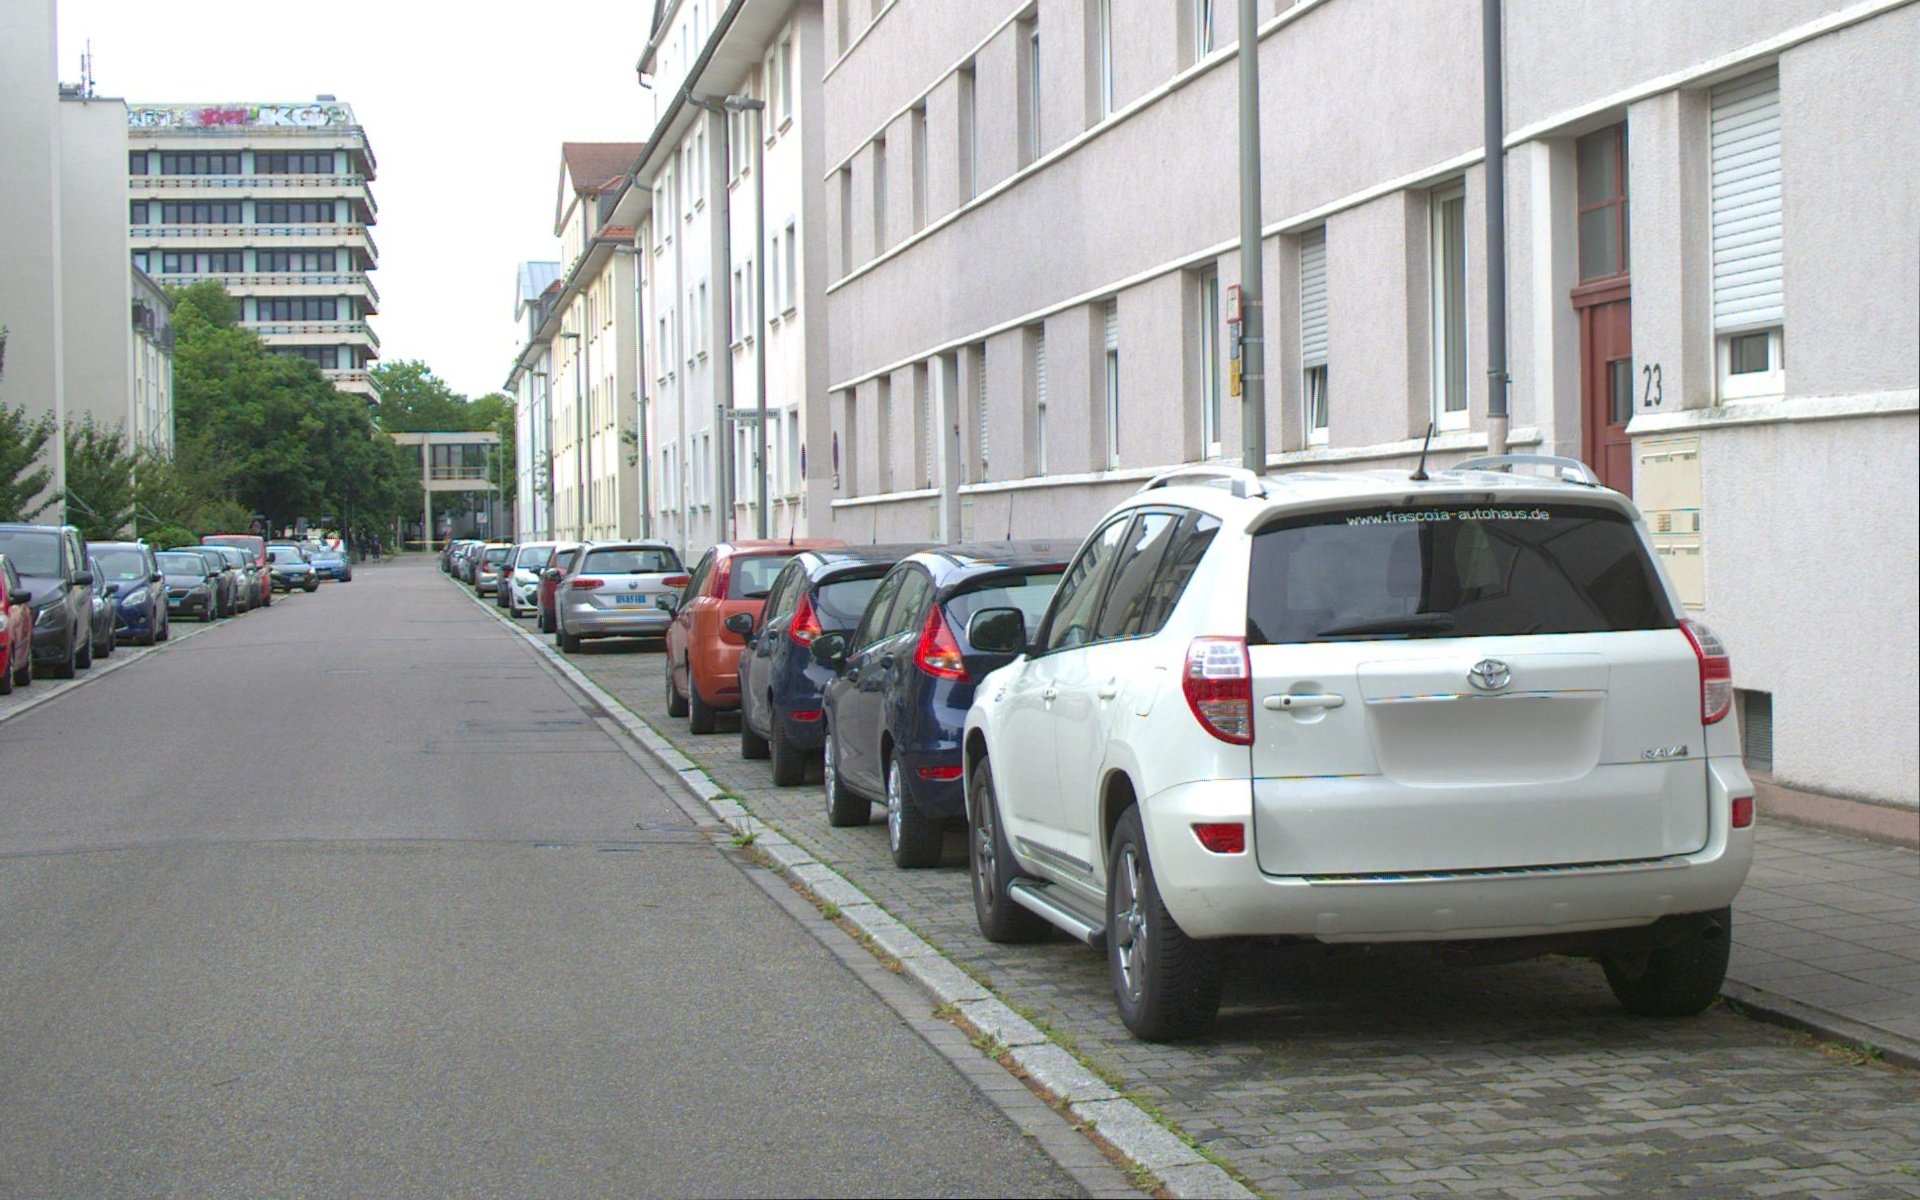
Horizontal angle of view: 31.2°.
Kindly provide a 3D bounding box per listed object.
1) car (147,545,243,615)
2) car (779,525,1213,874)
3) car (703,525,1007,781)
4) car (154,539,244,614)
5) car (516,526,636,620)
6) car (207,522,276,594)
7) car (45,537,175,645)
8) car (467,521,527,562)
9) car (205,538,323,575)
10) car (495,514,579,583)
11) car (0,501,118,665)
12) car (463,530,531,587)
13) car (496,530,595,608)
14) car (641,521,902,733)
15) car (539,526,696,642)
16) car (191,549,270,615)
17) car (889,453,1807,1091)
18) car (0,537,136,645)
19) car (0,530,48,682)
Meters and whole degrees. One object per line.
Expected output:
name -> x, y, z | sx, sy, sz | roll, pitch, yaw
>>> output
car -> -15.559, -0.427, 70.068 | 1.671, 1.347, 3.817 | 0, 1, -9
car -> 0.063, 0.388, 16.938 | 1.567, 1.473, 3.872 | -1, 2, -8
car -> -0.755, 0.273, 22.335 | 1.567, 1.468, 3.697 | -2, 2, -8
car -> -16.486, -0.531, 74.613 | 1.671, 1.558, 3.665 | 0, 1, -9
car -> -6.369, -0.480, 56.720 | 1.669, 1.415, 4.001 | -3, 2, -10
car -> -19.736, -1.173, 94.536 | 1.671, 1.931, 3.743 | 0, 1, -9
car -> -13.645, -0.185, 55.349 | 1.769, 1.637, 4.356 | 0, 1, -11
car -> -16.692, -2.114, 123.761 | 1.993, 1.393, 4.001 | 2, 1, -9
car -> -23.603, -1.472, 116.630 | 3.734, 1.210, 1.542 | 1, 1, 25
car -> -9.884, -1.211, 80.075 | 1.819, 1.571, 3.753 | 0, 1, -9
car -> -11.614, -0.271, 42.815 | 1.878, 1.897, 5.032 | 2, 1, -11
car -> -13.026, -1.187, 96.656 | 1.819, 1.571, 3.885 | 0, 1, -9
car -> -8.274, -0.643, 68.435 | 1.819, 1.499, 3.753 | 0, 1, -9
car -> -1.583, 0.156, 27.726 | 1.696, 1.520, 3.827 | -2, 2, -9
car -> -4.668, -0.259, 46.351 | 1.754, 1.462, 4.602 | 0, 1, -10
car -> -17.888, -0.464, 84.452 | 1.671, 1.520, 4.254 | 0, 1, -9
car -> 1.045, 0.404, 11.536 | 1.842, 1.668, 4.291 | -2, 2, -10
car -> -12.964, -0.166, 49.677 | 1.830, 1.454, 4.261 | 0, 1, -11
car -> -11.022, 0.014, 37.805 | 1.563, 1.563, 3.643 | 2, 1, -10
